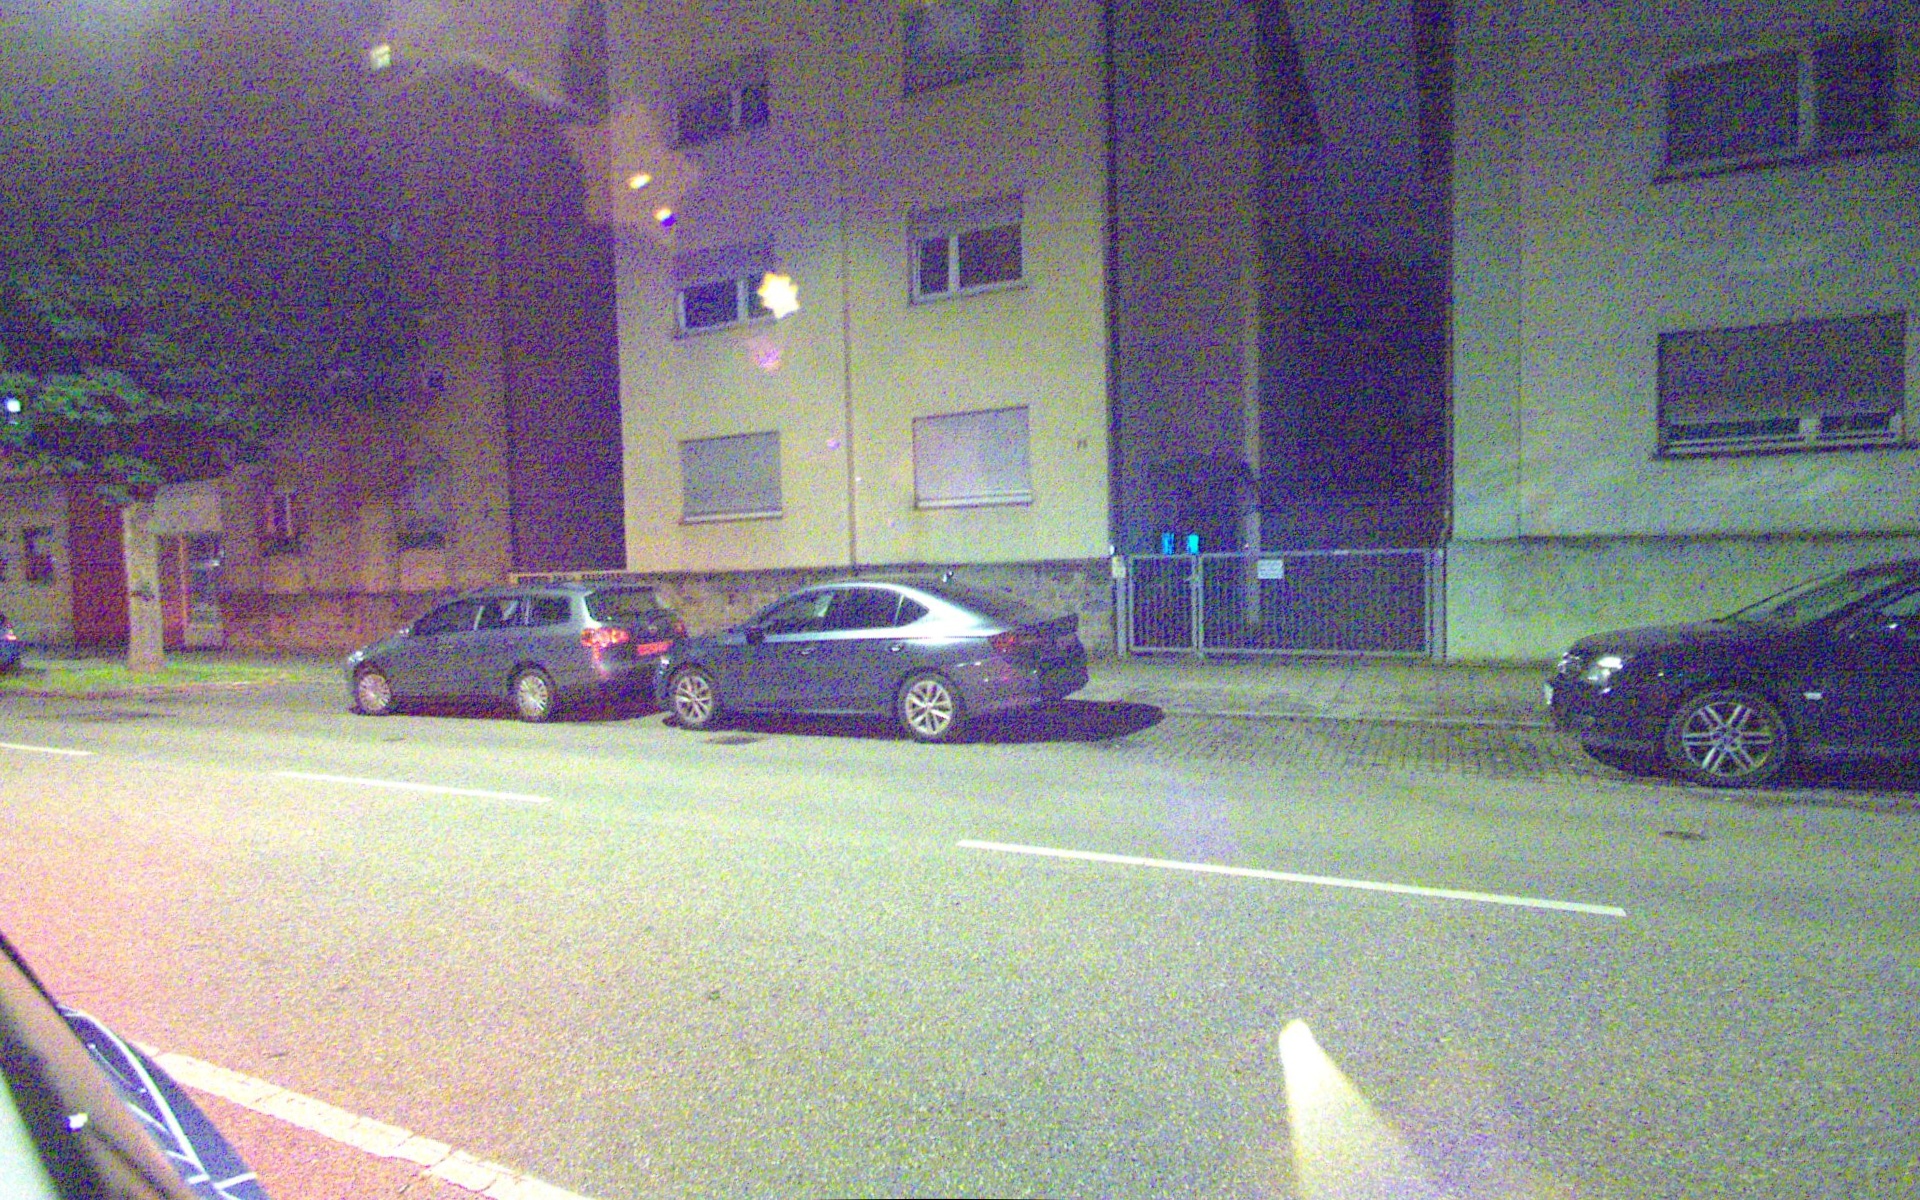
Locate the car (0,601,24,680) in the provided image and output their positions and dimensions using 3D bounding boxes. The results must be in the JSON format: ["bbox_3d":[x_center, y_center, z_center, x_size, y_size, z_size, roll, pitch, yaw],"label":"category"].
[{"bbox_3d":[-19.919,0.804,19.495,3.496,1.475,1.619,-1,1,26],"label":"car"}]

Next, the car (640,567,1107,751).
[{"bbox_3d":[-0.895,0.500,9.881,4.323,1.444,1.544,-1,3,26],"label":"car"}]

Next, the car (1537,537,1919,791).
[{"bbox_3d":[6.357,0.328,6.520,4.377,1.444,1.852,-1,3,24],"label":"car"}]

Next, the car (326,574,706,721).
[{"bbox_3d":[-5.305,0.509,12.045,4.324,1.444,1.631,-1,3,25],"label":"car"}]
